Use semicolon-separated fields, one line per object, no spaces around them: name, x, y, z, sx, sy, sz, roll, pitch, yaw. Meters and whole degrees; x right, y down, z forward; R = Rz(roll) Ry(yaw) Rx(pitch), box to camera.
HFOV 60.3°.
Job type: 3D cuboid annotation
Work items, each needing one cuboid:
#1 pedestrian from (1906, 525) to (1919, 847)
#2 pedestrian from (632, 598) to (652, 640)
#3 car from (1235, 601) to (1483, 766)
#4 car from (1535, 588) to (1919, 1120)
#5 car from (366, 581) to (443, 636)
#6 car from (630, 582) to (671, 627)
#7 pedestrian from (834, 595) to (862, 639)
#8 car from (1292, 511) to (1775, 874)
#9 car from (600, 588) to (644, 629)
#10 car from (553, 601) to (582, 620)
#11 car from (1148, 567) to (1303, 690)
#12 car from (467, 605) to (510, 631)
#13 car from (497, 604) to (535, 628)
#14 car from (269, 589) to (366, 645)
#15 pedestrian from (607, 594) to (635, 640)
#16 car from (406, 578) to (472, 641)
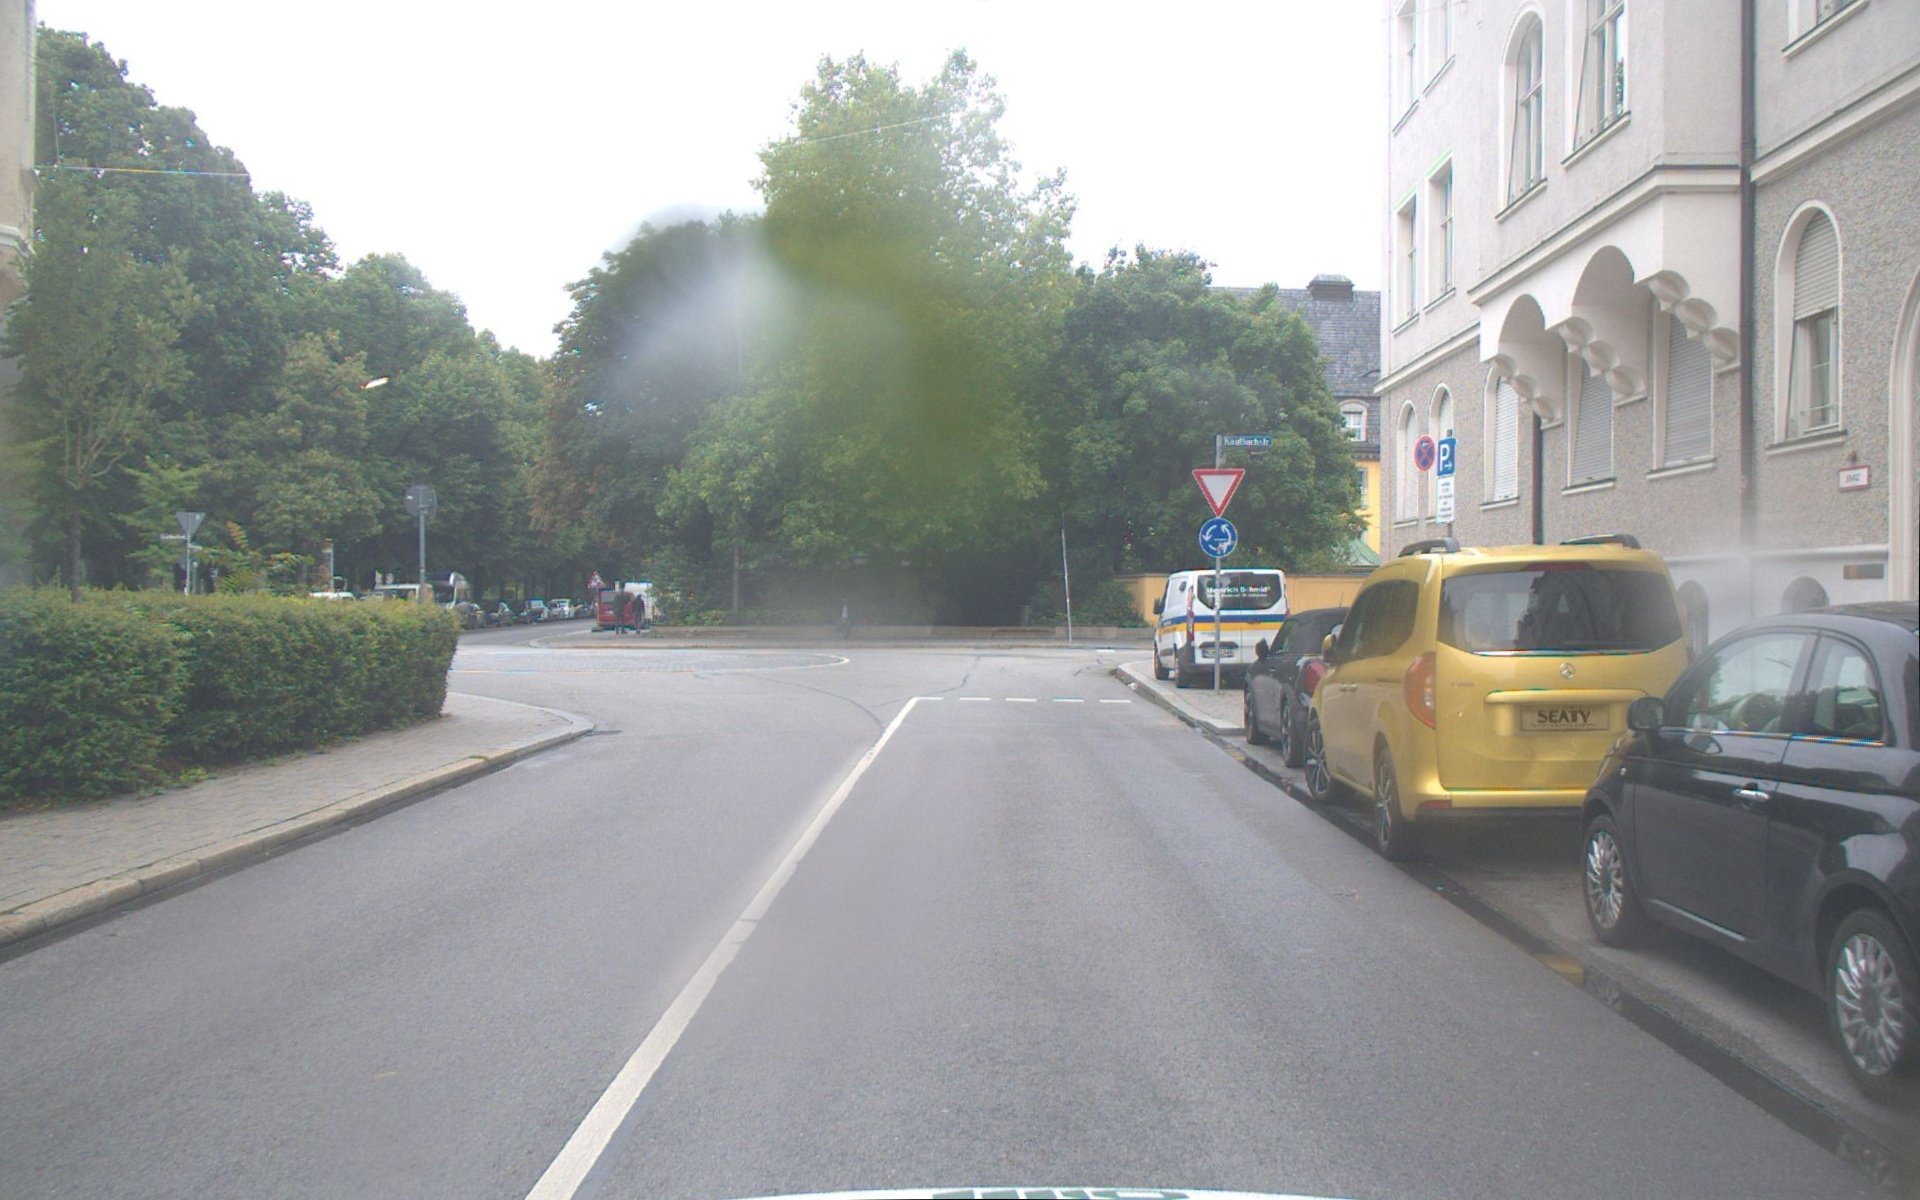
pedestrian;5.579;0.473;8.819;0.643;1.759;0.759;0;0;0
pedestrian;-12.968;0.766;67.407;0.626;1.696;0.690;0;0;-29
car;3.918;0.756;16.843;1.677;1.470;3.828;0;0;1
car;3.626;0.731;6.338;1.599;1.540;3.886;0;0;2
car;-25.066;0.374;74.843;2.044;2.304;5.595;-2;0;-6
car;-18.283;0.246;97.841;1.955;2.603;5.422;0;0;-6
pedestrian;-3.555;0.542;52.469;0.753;1.380;1.132;0;0;2
car;3.552;0.501;11.235;1.952;1.952;4.573;0;0;4
car;-16.757;0.394;82.219;1.876;1.971;4.959;0;0;-9
car;-30.999;0.821;130.802;1.957;1.513;4.120;0;0;-10
car;4.606;0.447;29.518;1.898;1.955;5.374;-1;0;0
car;-27.098;1.015;95.136;1.957;1.445;4.120;0;0;-10
car;-29.075;1.024;108.424;1.957;1.513;4.120;0;0;-10
car;-23.474;0.606;60.604;2.043;1.937;4.852;0;0;-6
pedestrian;-13.860;0.693;67.603;0.812;1.868;0.941;0;0;-34
car;-26.293;0.480;83.708;2.131;3.055;6.223;0;0;-7
